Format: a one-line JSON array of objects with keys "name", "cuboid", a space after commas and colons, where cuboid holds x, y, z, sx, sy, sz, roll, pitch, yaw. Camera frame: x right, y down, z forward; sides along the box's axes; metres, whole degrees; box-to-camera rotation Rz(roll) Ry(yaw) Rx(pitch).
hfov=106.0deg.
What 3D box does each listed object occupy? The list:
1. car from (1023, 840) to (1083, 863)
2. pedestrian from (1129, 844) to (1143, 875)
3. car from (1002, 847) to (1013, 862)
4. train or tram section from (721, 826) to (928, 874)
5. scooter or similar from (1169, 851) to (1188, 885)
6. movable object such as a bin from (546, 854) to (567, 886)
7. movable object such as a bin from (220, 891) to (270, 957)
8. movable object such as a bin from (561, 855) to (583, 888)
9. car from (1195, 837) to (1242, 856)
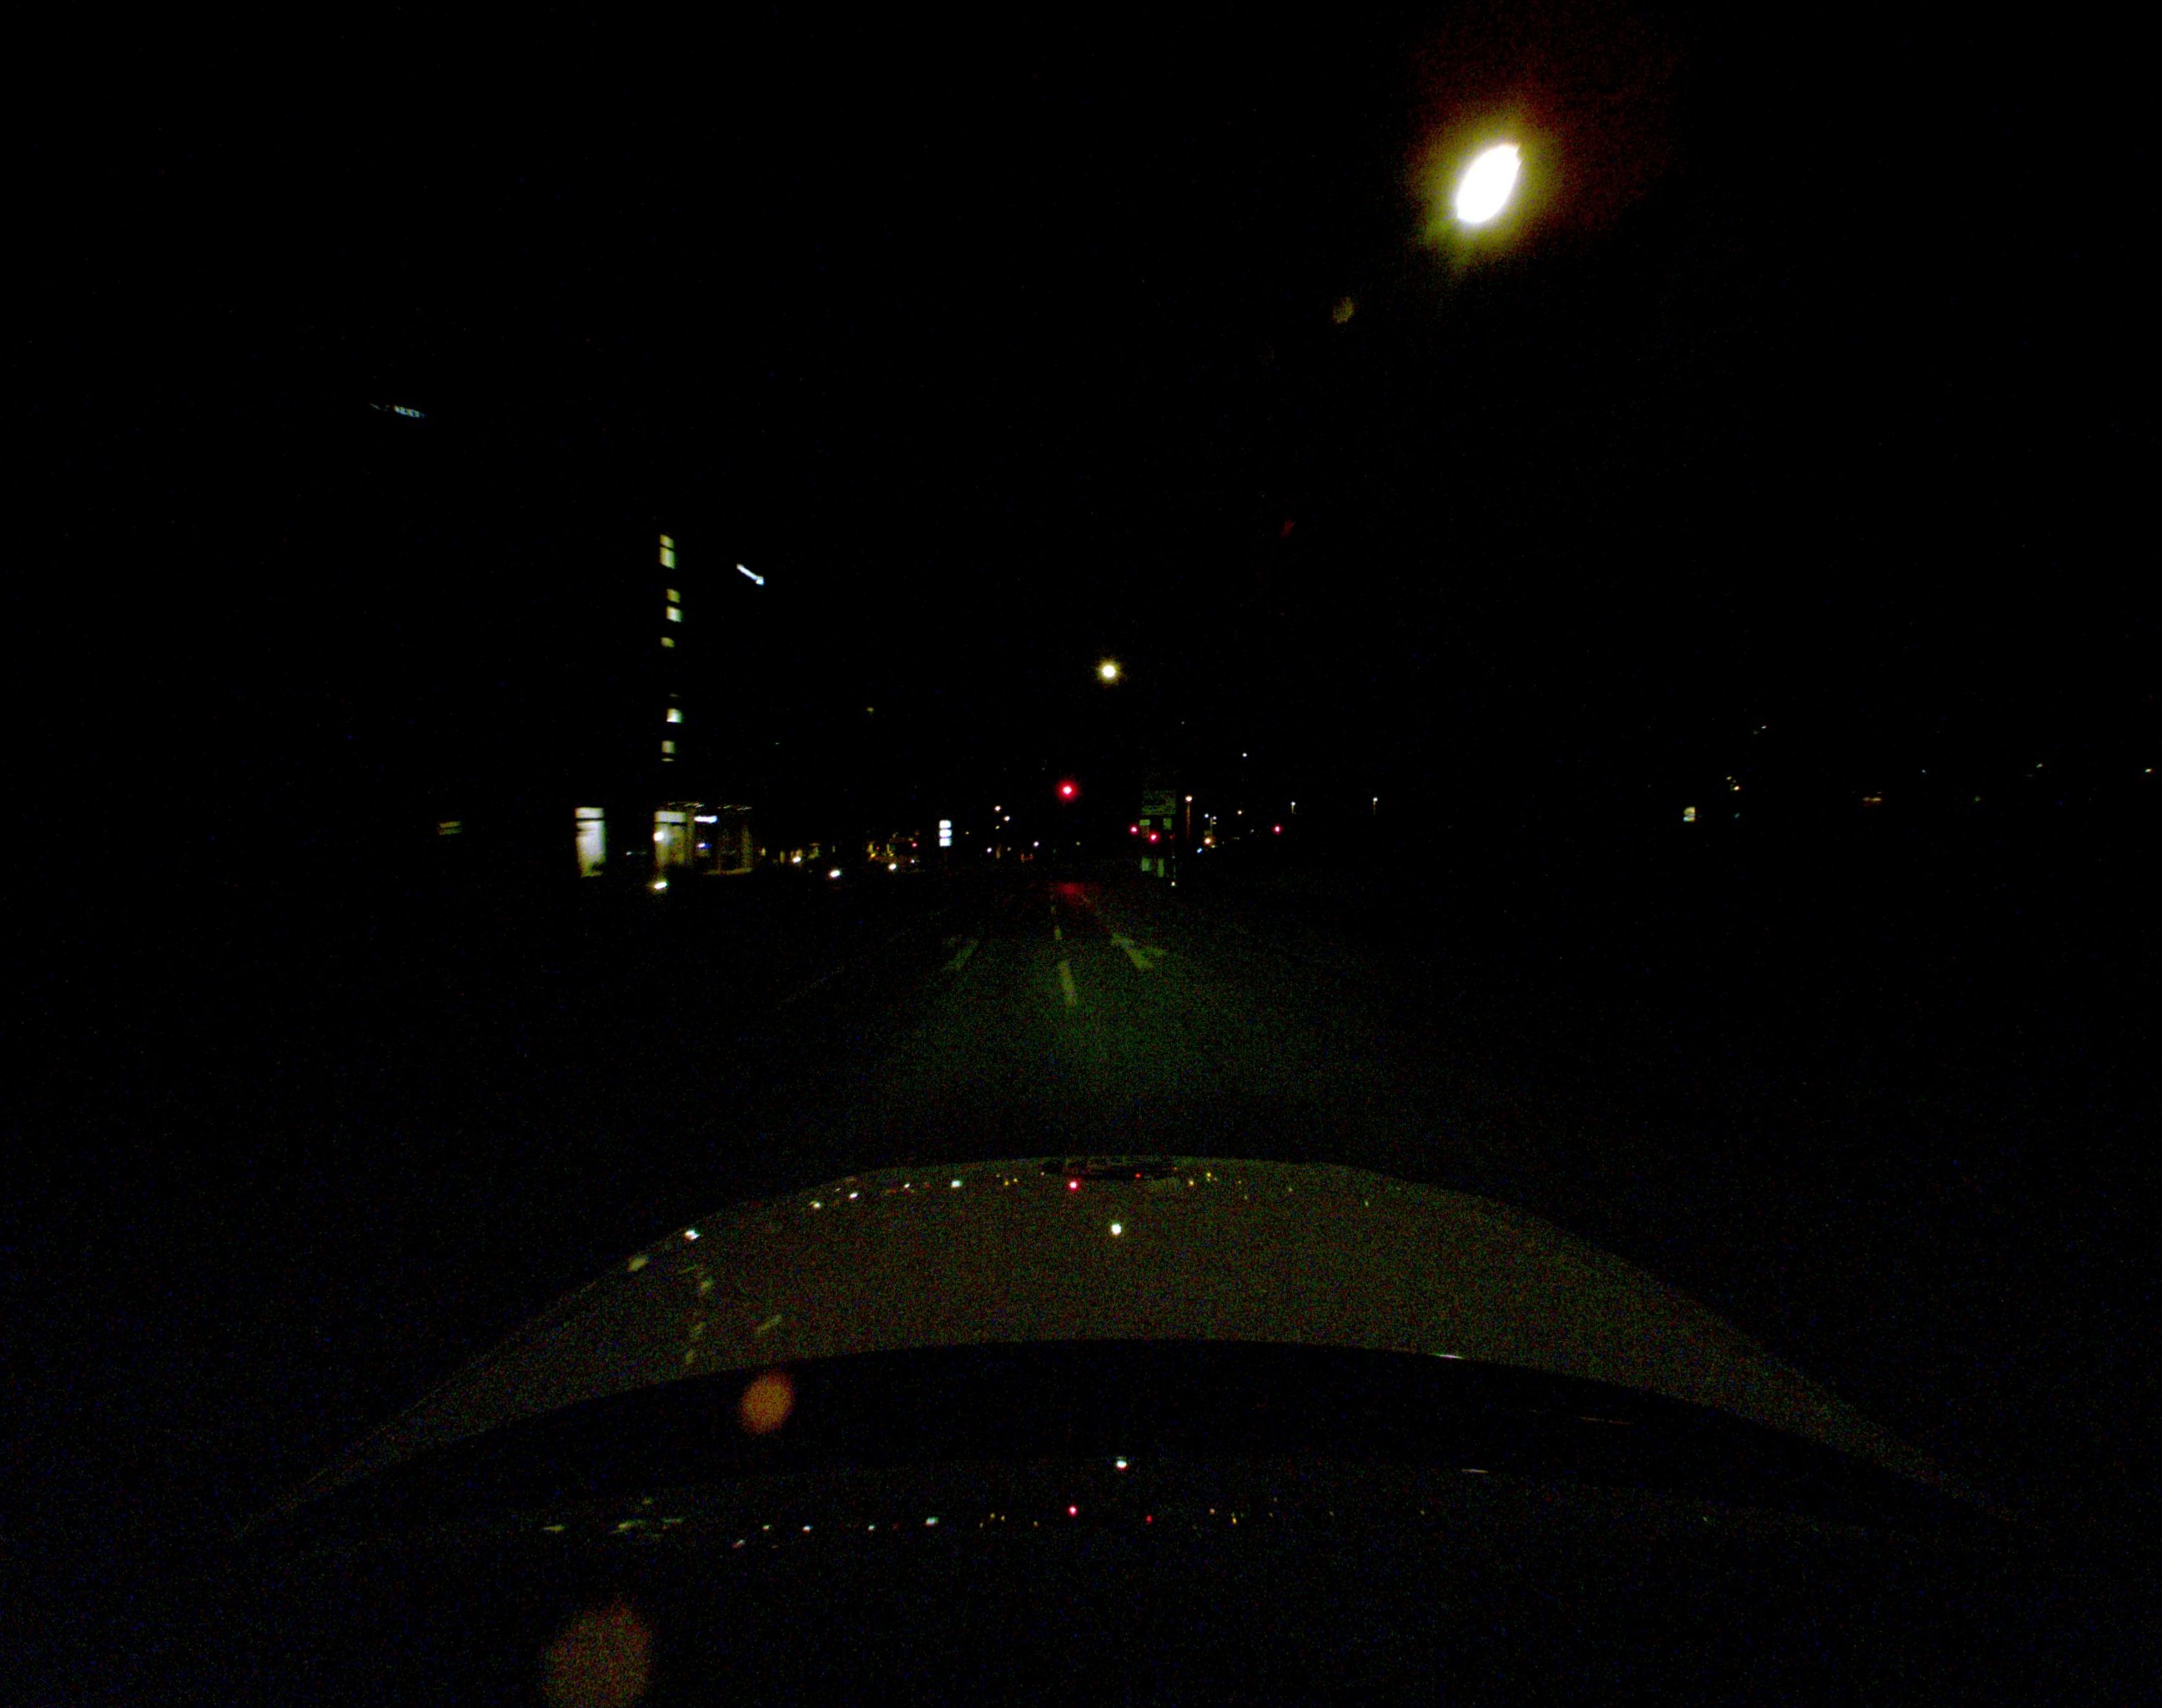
[{"name": "car", "cuboid": [-6.201, -0.537, 180.577, 12.412, 4.709, 4.783, -1, 0, -17]}, {"name": "pedestrian", "cuboid": [3.531, 0.358, 52.285, 0.739, 1.981, 0.621, -1, 0, -19]}, {"name": "car", "cuboid": [-15.183, 0.043, 167.672, 1.992, 2.974, 3.990, -1, 0, -8]}, {"name": "train or tram section", "cuboid": [-24.575, -0.379, 78.498, 19.092, 3.823, 2.926, -2, 0, 3]}, {"name": "scooter or similar", "cuboid": [3.750, 0.537, 31.437, 0.492, 1.262, 1.319, -3, 0, -1]}, {"name": "movable object such as a bin", "cuboid": [-23.200, 0.705, 36.008, 0.355, 1.370, 0.732, -2, 3, -1]}, {"name": "movable object such as a bin", "cuboid": [-17.616, 1.467, 17.172, 0.624, 1.307, 0.562, -3, 0, -40]}, {"name": "movable object such as a bin", "cuboid": [-23.061, 0.790, 36.904, 0.439, 1.451, 0.809, -2, 1, 1]}, {"name": "car", "cuboid": [14.323, -0.818, 85.171, 4.594, 1.640, 2.002, -4, 0, 3]}]
